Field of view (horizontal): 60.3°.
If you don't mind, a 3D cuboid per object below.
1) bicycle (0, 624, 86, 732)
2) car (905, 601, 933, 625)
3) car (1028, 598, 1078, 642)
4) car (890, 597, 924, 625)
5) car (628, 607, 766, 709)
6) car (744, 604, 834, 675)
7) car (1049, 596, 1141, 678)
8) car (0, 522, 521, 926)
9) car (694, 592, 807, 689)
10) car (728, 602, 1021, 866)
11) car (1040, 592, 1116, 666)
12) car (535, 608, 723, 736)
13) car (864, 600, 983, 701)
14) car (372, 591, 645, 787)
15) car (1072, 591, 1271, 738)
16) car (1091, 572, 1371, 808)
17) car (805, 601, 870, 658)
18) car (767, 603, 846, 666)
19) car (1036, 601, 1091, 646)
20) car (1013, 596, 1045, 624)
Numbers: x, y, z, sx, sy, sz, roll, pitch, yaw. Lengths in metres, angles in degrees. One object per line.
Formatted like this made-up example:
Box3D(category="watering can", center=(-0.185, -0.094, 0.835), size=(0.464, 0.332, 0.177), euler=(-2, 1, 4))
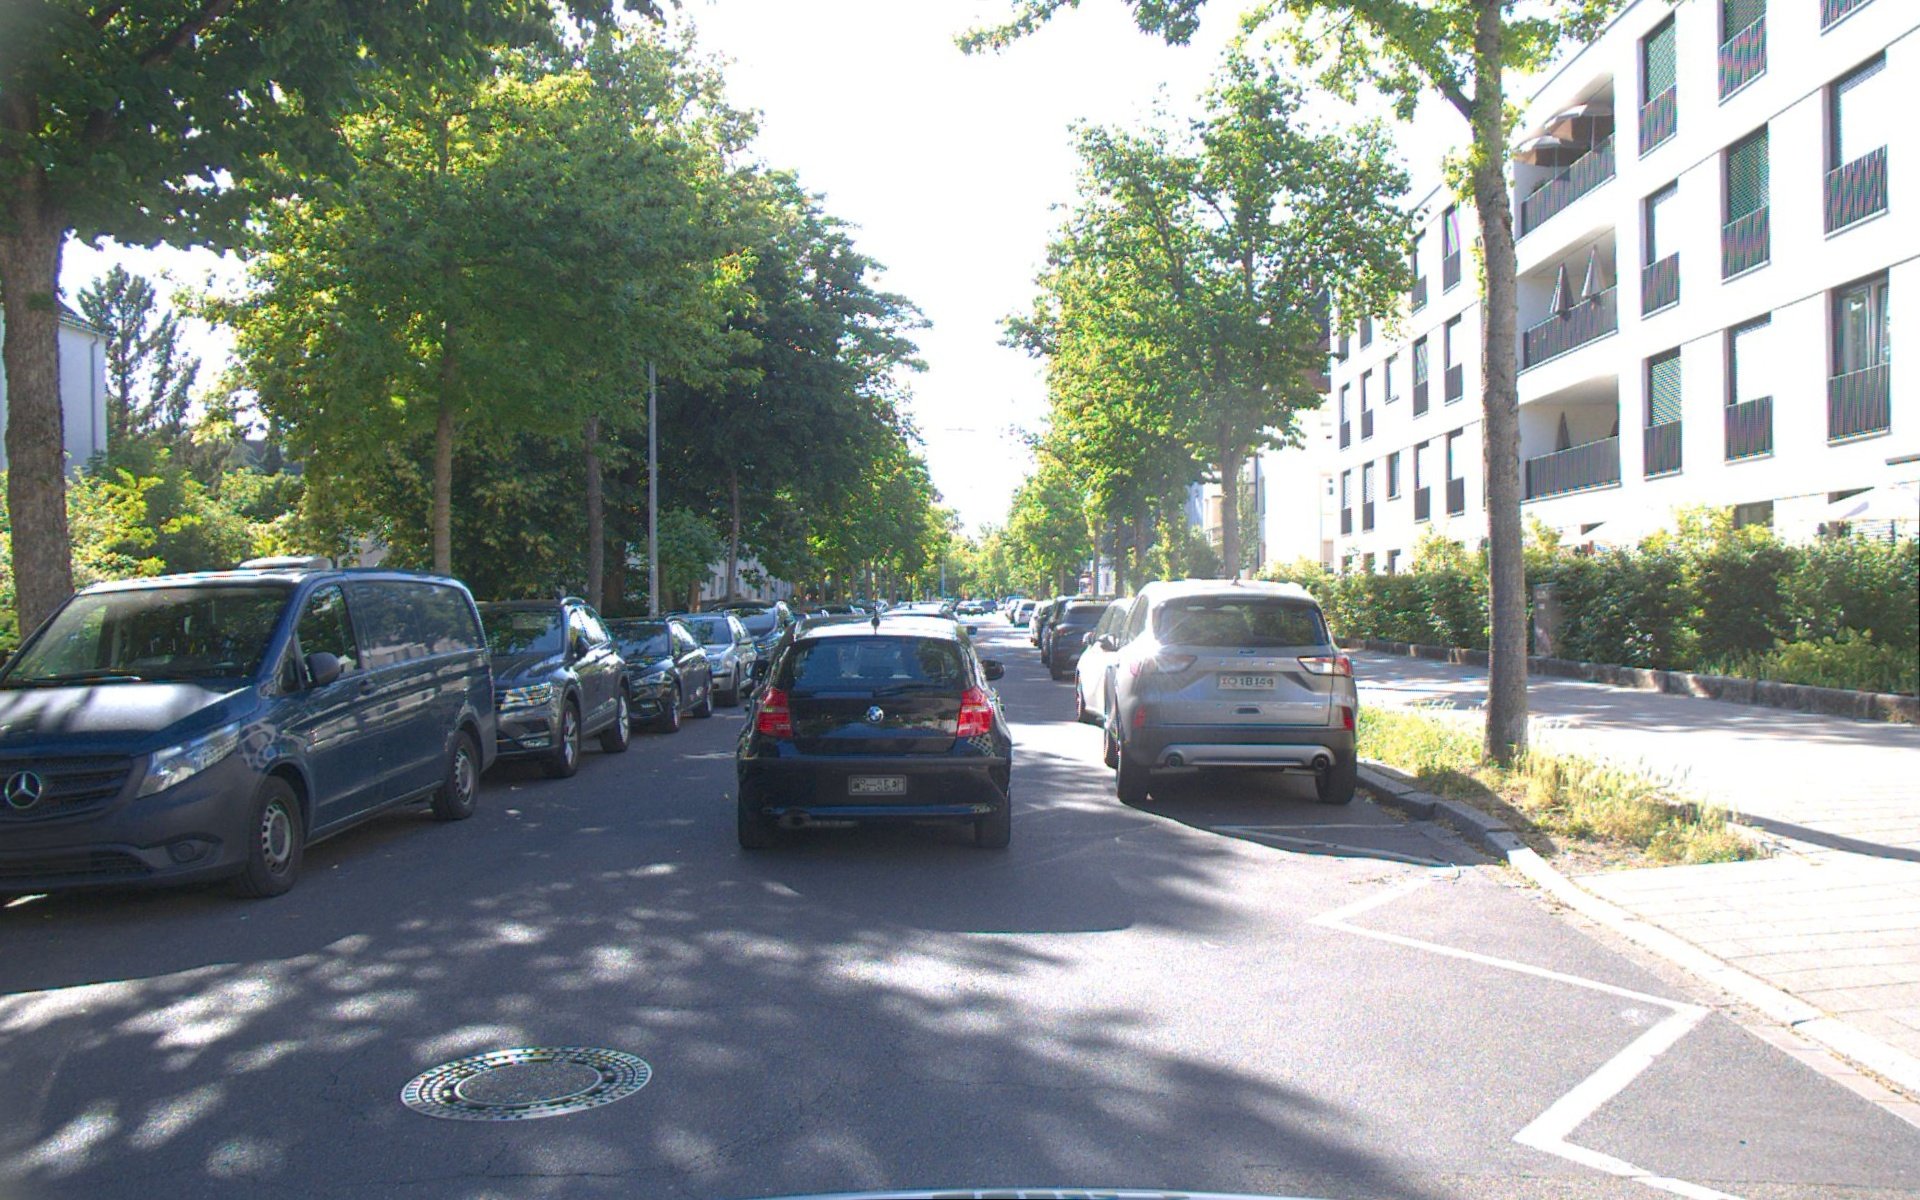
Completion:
Box3D(category="bicycle", center=(-11.616, 0.939, 19.573), size=(2.106, 1.230, 0.689), euler=(-2, 0, -10))
Box3D(category="car", center=(-2.559, 0.821, 102.914), size=(1.579, 1.416, 3.866), euler=(-2, 0, 0))
Box3D(category="car", center=(3.340, 0.702, 59.885), size=(1.685, 1.506, 3.852), euler=(1, 0, 2))
Box3D(category="car", center=(-2.815, 0.572, 88.661), size=(1.579, 1.416, 3.866), euler=(-2, 0, 0))
Box3D(category="car", center=(-4.202, 0.888, 26.907), size=(1.579, 1.452, 3.726), euler=(-2, 0, 0))
Box3D(category="car", center=(-3.890, 0.865, 38.049), size=(1.579, 1.478, 3.866), euler=(-2, 0, 0))
Box3D(category="car", center=(2.716, 0.719, 33.974), size=(1.685, 1.555, 4.001), euler=(1, 0, 2))
Box3D(category="car", center=(-4.531, 0.625, 10.709), size=(1.788, 1.937, 5.143), euler=(-3, 0, 2))
Box3D(category="car", center=(-4.016, 0.735, 32.347), size=(1.579, 1.708, 4.234), euler=(-2, 0, 0))
Box3D(category="car", center=(-0.547, 0.758, 11.044), size=(1.616, 1.421, 3.410), euler=(-2, 0, -2))
Box3D(category="car", center=(2.811, 0.659, 39.983), size=(1.685, 1.669, 3.852), euler=(1, 0, 2))
Box3D(category="car", center=(-4.248, 0.869, 21.812), size=(1.579, 1.452, 4.058), euler=(-2, 0, 0))
Box3D(category="car", center=(-0.527, 0.753, 26.821), size=(1.615, 1.450, 4.002), euler=(-2, 0, 3))
Box3D(category="car", center=(-4.329, 0.772, 16.503), size=(1.579, 1.639, 4.228), euler=(-2, 0, -1))
Box3D(category="car", center=(2.380, 0.685, 19.539), size=(1.660, 1.550, 3.998), euler=(0, 0, -3))
Box3D(category="car", center=(2.081, 0.652, 13.849), size=(1.809, 1.659, 4.412), euler=(0, -1, 3))
Box3D(category="car", center=(-3.625, 0.847, 49.571), size=(1.579, 1.570, 3.866), euler=(-2, 0, 0))
Box3D(category="car", center=(-3.913, 0.860, 42.662), size=(1.579, 1.478, 3.866), euler=(-2, 0, 0))
Box3D(category="car", center=(3.417, 0.750, 55.094), size=(1.685, 1.403, 3.852), euler=(1, 0, 2))
Box3D(category="car", center=(3.977, 0.549, 95.181), size=(1.685, 1.506, 3.853), euler=(-2, 0, 4))
